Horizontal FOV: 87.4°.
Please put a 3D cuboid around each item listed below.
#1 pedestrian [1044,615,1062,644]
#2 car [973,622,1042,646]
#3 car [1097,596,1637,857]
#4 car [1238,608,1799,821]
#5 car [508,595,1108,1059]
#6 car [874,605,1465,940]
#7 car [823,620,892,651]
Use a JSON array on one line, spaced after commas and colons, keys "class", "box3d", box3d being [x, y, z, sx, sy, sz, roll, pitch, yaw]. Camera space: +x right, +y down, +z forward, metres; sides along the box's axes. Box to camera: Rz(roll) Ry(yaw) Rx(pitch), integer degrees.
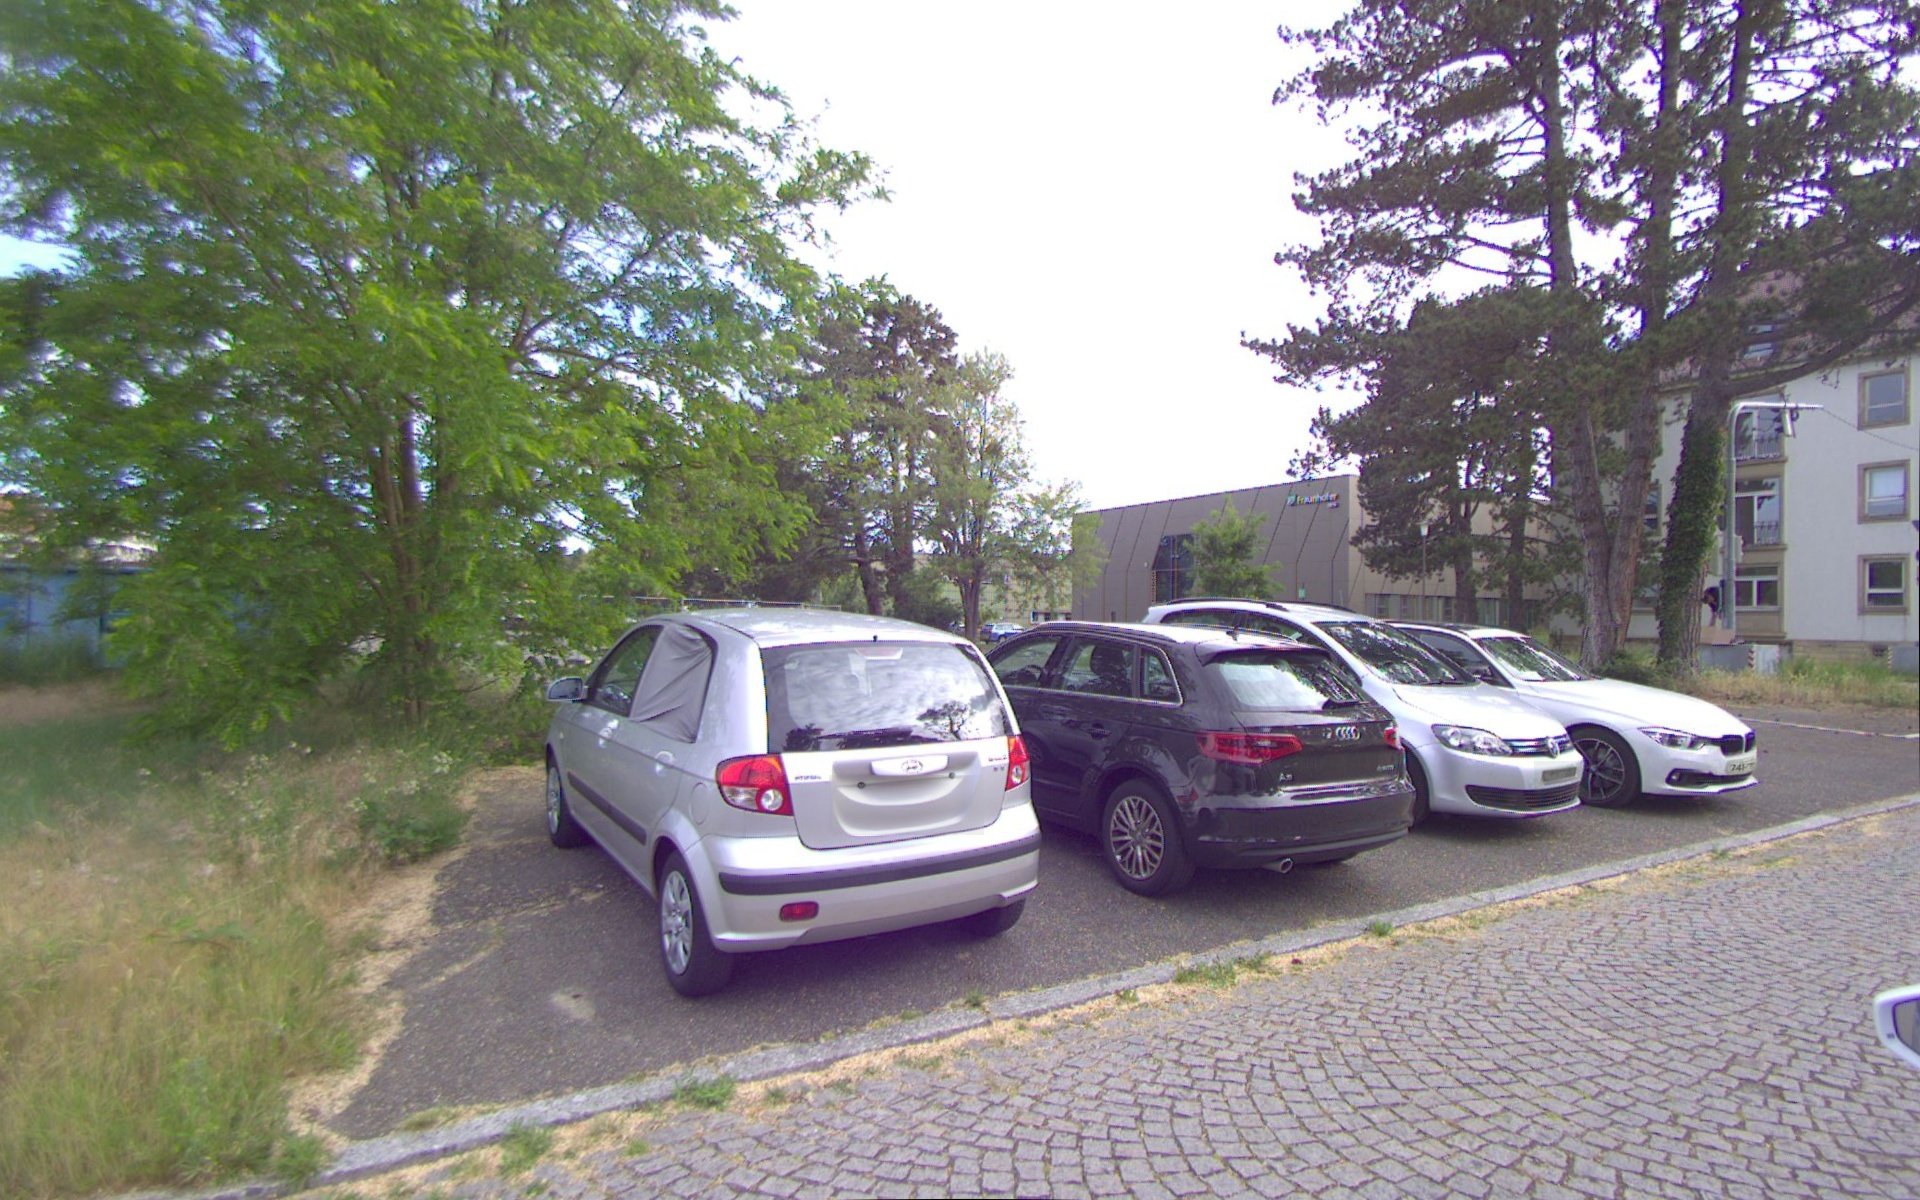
[{"class": "pedestrian", "box3d": [6.557, 2.057, 71.028, 0.912, 2.040, 0.893, 1, -1, -36]}, {"class": "car", "box3d": [3.259, 2.326, 69.292, 4.405, 1.449, 1.985, -1, 0, -29]}, {"class": "car", "box3d": [3.164, 0.820, 8.572, 1.707, 1.568, 3.961, 1, 1, -34]}, {"class": "car", "box3d": [5.215, 0.908, 10.105, 1.783, 1.463, 4.618, 1, 1, -34]}, {"class": "car", "box3d": [-1.125, 0.785, 5.445, 1.790, 1.472, 3.654, 1, 1, -34]}, {"class": "car", "box3d": [1.072, 0.845, 6.911, 1.731, 1.447, 3.966, 1, 1, -31]}, {"class": "car", "box3d": [-4.845, 1.643, 47.243, 1.678, 1.410, 3.965, 1, -1, -32]}]
